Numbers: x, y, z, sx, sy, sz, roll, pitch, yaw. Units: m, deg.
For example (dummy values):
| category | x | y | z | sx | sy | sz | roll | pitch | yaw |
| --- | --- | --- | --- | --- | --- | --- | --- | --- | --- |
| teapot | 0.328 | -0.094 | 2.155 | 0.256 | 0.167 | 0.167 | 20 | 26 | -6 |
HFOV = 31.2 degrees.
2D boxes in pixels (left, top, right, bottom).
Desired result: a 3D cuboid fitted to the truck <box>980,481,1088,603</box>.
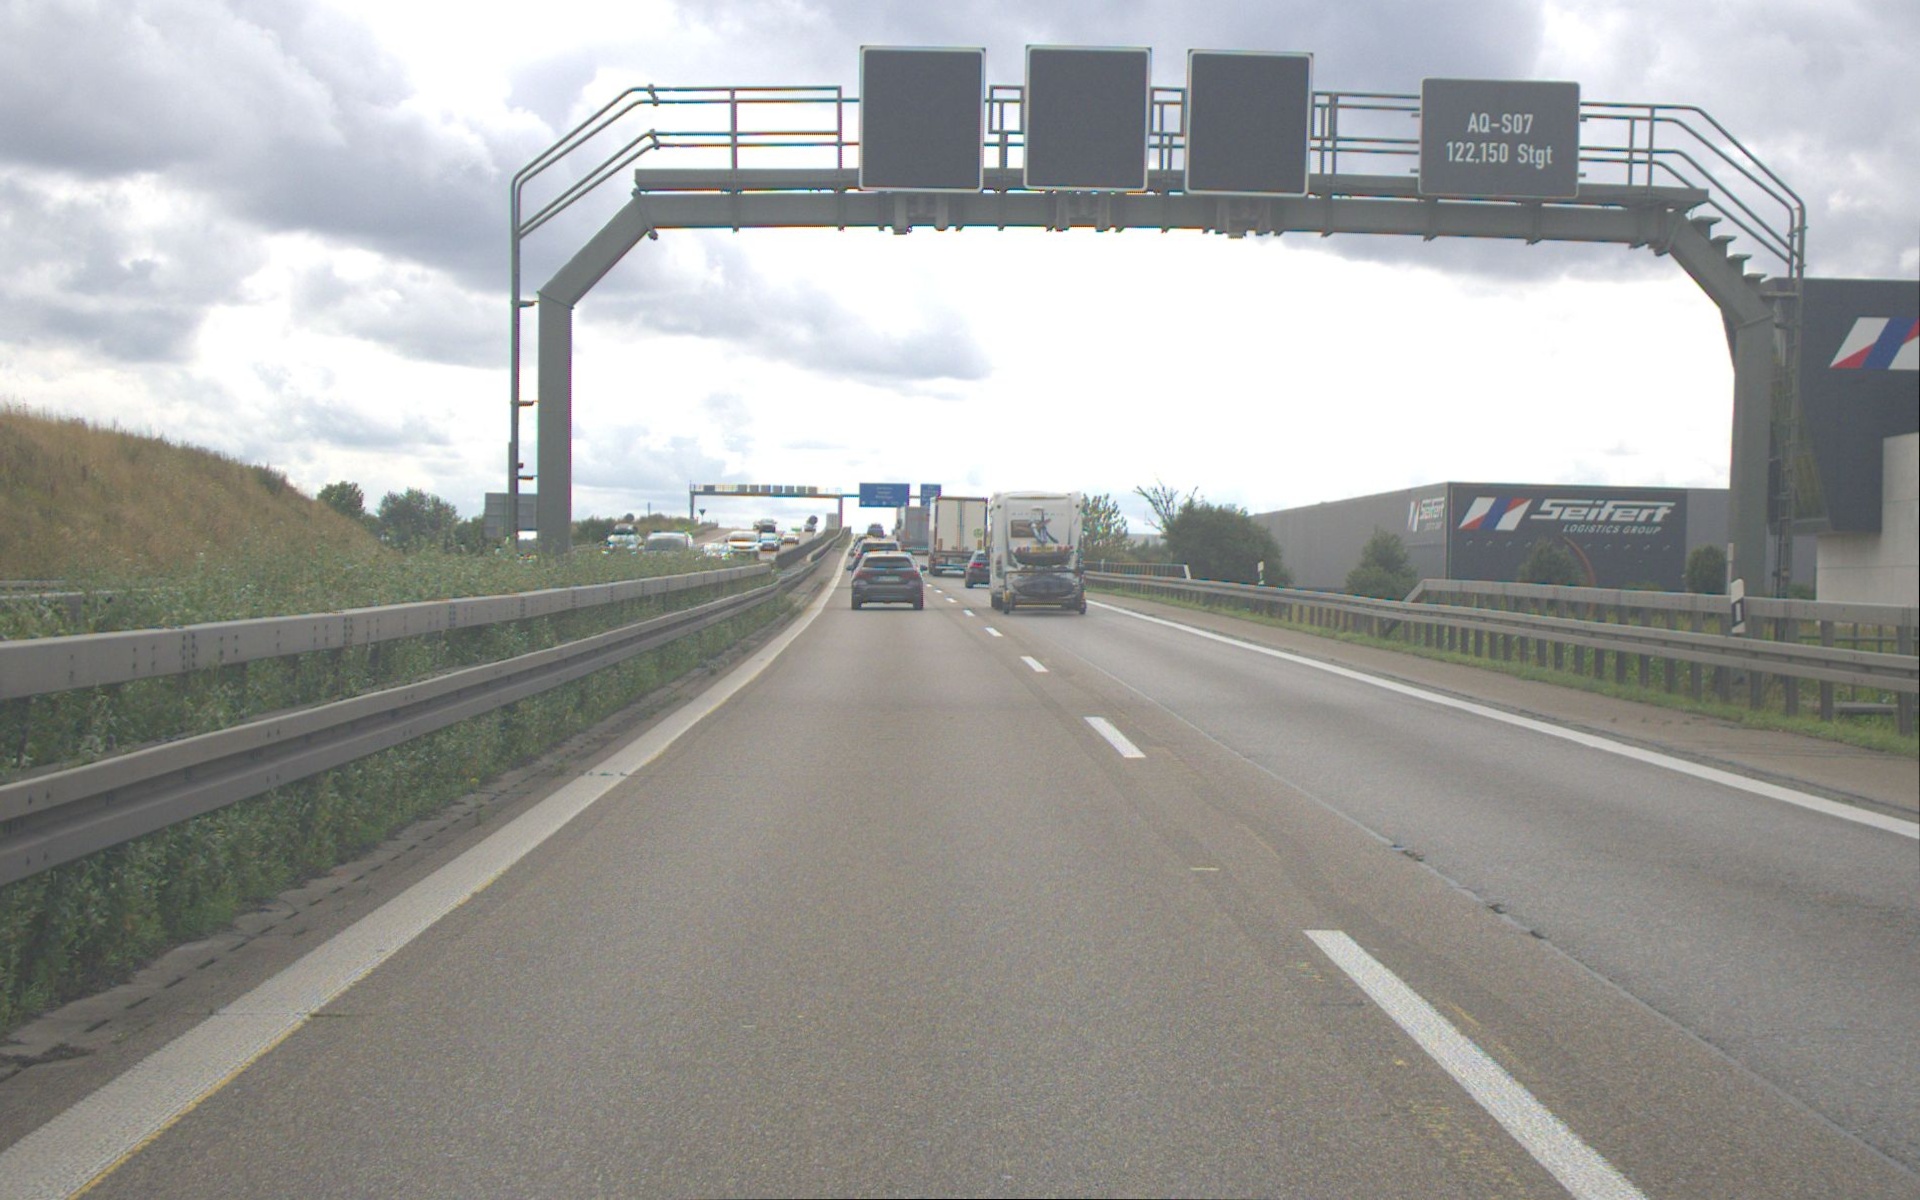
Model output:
| category | x | y | z | sx | sy | sz | roll | pitch | yaw |
| --- | --- | --- | --- | --- | --- | --- | --- | --- | --- |
| truck | 1.835 | -1.443 | 87.491 | 2.482 | 2.940 | 5.815 | 1 | 0 | -1 |

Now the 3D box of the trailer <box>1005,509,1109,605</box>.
| category | x | y | z | sx | sy | sz | roll | pitch | yaw |
| --- | --- | --- | --- | --- | --- | --- | --- | --- | --- |
| trailer | 2.253 | -0.987 | 80.357 | 2.338 | 2.129 | 4.000 | 1 | 0 | 1 |

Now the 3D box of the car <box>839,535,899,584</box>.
| category | x | y | z | sx | sy | sz | roll | pitch | yaw |
| --- | --- | --- | --- | --- | --- | --- | --- | --- | --- |
| car | -3.241 | -1.438 | 123.575 | 1.945 | 1.679 | 4.000 | 1 | 0 | 1 |

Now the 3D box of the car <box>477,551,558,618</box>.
| category | x | y | z | sx | sy | sz | roll | pitch | yaw |
| --- | --- | --- | --- | --- | --- | --- | --- | --- | --- |
| car | -13.946 | -0.513 | 108.550 | 1.993 | 2.007 | 4.708 | 1 | 1 | -1 |

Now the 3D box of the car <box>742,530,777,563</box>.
| category | x | y | z | sx | sy | sz | roll | pitch | yaw |
| --- | --- | --- | --- | --- | --- | --- | --- | --- | --- |
| car | -11.971 | -3.184 | 205.962 | 1.828 | 1.878 | 5.419 | 1 | 0 | -1 |

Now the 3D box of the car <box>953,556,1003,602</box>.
| category | x | y | z | sx | sy | sz | roll | pitch | yaw |
| --- | --- | --- | --- | --- | --- | --- | --- | --- | --- |
| car | 0.687 | -0.777 | 129.742 | 1.801 | 1.679 | 4.000 | 1 | 0 | 1 |

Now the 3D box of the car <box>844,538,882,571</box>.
| category | x | y | z | sx | sy | sz | roll | pitch | yaw |
| --- | --- | --- | --- | --- | --- | --- | --- | --- | --- |
| car | -5.505 | -2.586 | 195.441 | 1.943 | 1.769 | 3.696 | 1 | 0 | 1 |

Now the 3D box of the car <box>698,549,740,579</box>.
| category | x | y | z | sx | sy | sz | roll | pitch | yaw |
| --- | --- | --- | --- | --- | --- | --- | --- | --- | --- |
| car | -11.640 | -1.749 | 166.338 | 1.811 | 1.397 | 4.406 | 1 | 0 | -1 |

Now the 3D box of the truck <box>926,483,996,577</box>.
| category | x | y | z | sx | sy | sz | roll | pitch | yaw |
| --- | --- | --- | --- | --- | --- | --- | --- | --- | --- |
| truck | 0.009 | -3.482 | 173.639 | 3.339 | 4.519 | 8.017 | 1 | 0 | -1 |

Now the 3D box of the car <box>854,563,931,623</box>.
| category | x | y | z | sx | sy | sz | roll | pitch | yaw |
| --- | --- | --- | --- | --- | --- | --- | --- | --- | --- |
| car | -1.678 | -0.189 | 86.281 | 1.746 | 1.448 | 4.000 | 1 | 0 | 1 |
